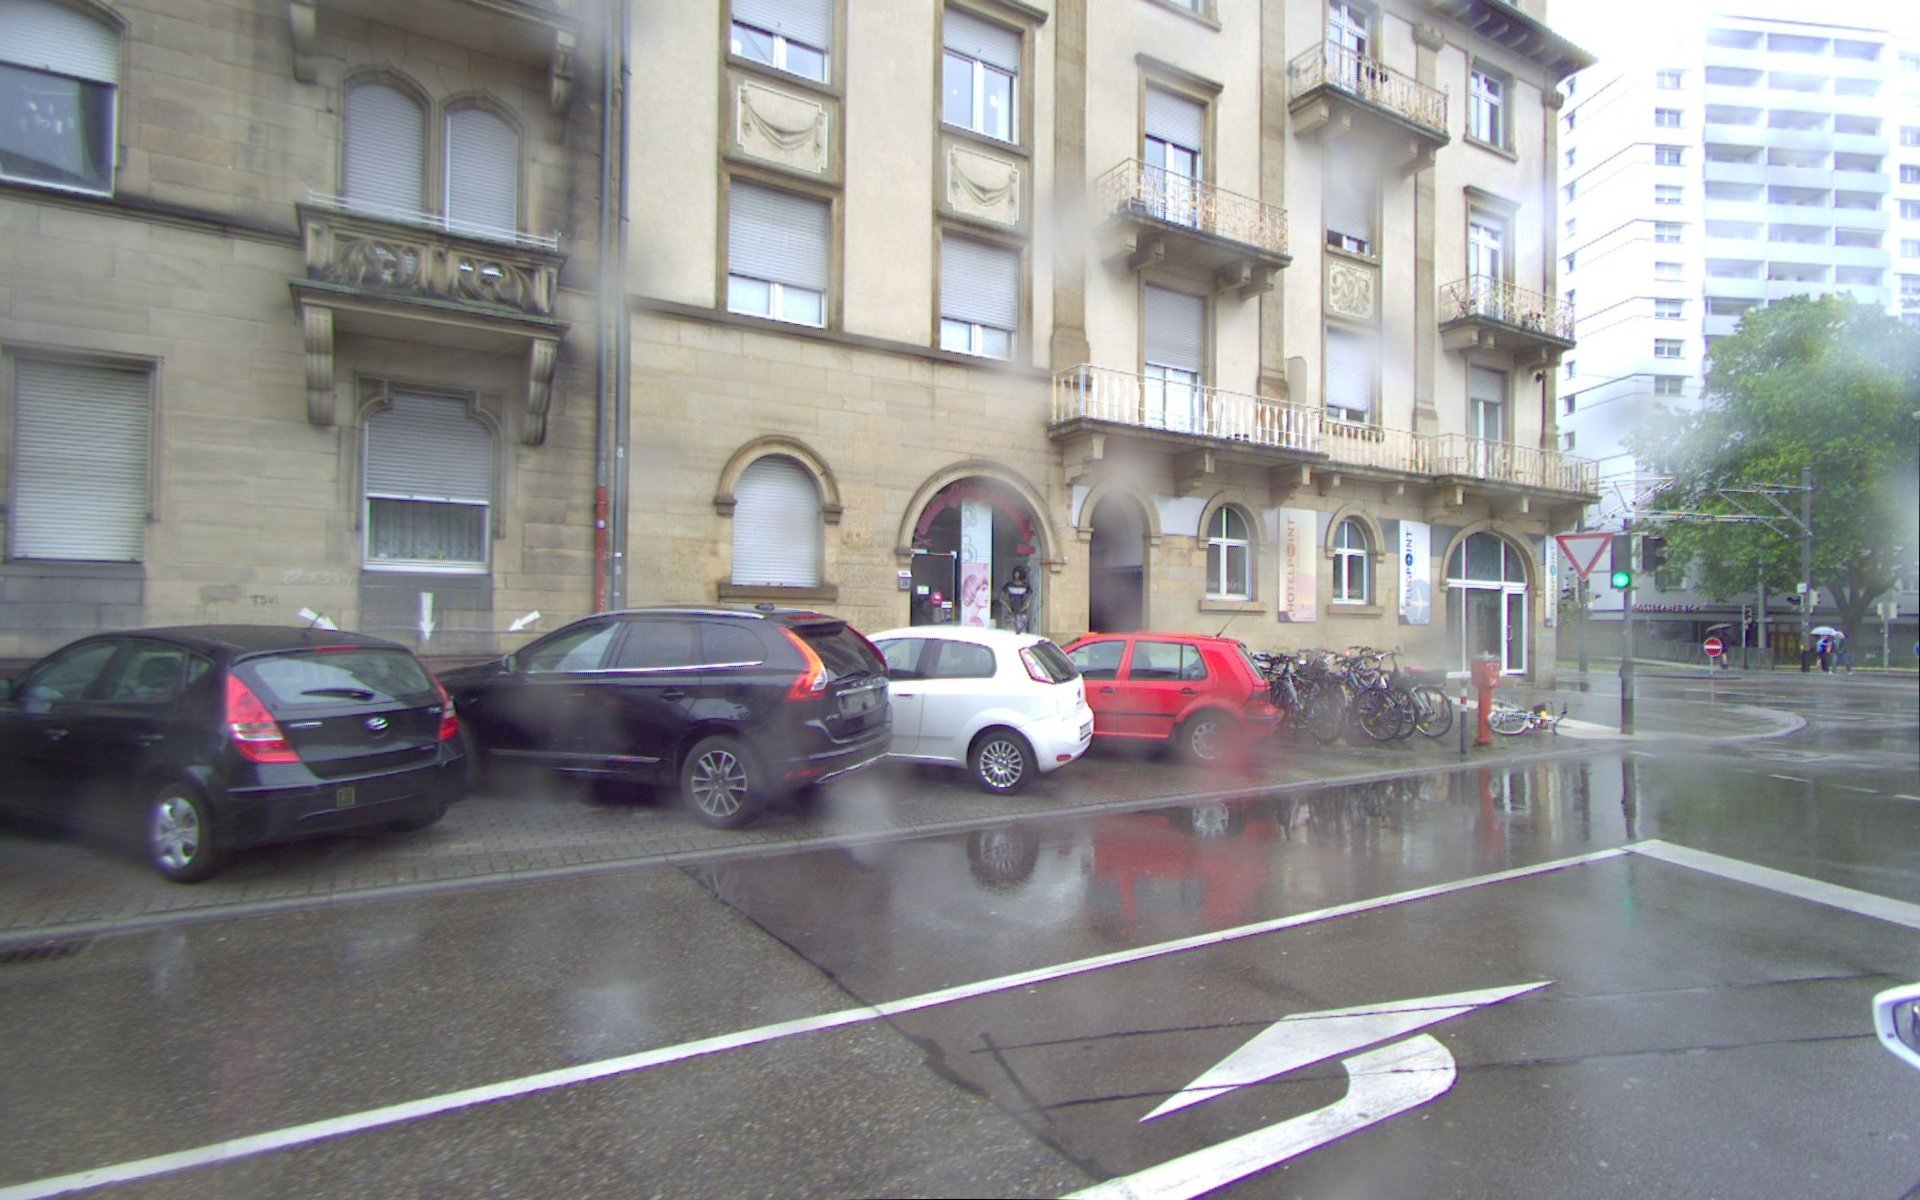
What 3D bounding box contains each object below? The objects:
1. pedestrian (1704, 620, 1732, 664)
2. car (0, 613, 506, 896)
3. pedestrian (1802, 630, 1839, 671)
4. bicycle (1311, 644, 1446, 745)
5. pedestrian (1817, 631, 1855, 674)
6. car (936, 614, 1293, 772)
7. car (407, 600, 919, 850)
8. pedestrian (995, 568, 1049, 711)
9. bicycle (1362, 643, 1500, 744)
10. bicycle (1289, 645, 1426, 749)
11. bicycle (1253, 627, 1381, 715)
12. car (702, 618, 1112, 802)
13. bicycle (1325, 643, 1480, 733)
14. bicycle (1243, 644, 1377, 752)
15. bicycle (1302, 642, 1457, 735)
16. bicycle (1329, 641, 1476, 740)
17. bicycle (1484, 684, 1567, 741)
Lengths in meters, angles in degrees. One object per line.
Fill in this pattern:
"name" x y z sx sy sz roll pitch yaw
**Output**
"pedestrian" 32.802 1.826 43.476 0.628 1.862 0.679 0 -2 -7
"car" -5.158 0.905 7.165 3.246 1.545 1.700 1 0 22
"pedestrian" 35.149 2.063 41.039 0.803 1.670 0.792 1 -2 -15
"bicycle" 5.892 1.295 14.245 0.463 1.200 1.800 1 2 -32
"pedestrian" 34.210 2.050 39.233 0.743 1.670 0.835 1 -2 -15
"car" 1.866 1.008 12.083 3.919 1.528 1.804 2 1 15
"car" -2.555 0.910 8.752 4.005 1.714 1.764 1 0 21
"pedestrian" 1.047 0.675 17.121 0.750 2.370 0.847 0 -2 -8
"bicycle" 6.844 1.322 14.723 0.432 1.347 1.968 1 -2 -28
"bicycle" 5.470 1.299 13.944 0.469 1.200 1.800 1 2 -31
"bicycle" 5.867 1.136 16.627 0.579 1.364 2.044 1 -2 -34
"car" -0.532 1.019 10.520 3.916 1.554 1.704 1 0 21
"bicycle" 7.194 1.401 16.462 0.634 1.364 2.326 1 -3 -34
"bicycle" 4.679 1.275 13.575 0.592 1.200 1.805 1 2 -24
"bicycle" 6.657 1.366 16.081 0.634 1.364 2.325 1 -2 -34
"bicycle" 6.342 1.263 14.513 0.470 1.200 1.968 2 1 -33
"bicycle" 8.526 1.675 15.181 1.024 0.672 1.476 2 -1 29
